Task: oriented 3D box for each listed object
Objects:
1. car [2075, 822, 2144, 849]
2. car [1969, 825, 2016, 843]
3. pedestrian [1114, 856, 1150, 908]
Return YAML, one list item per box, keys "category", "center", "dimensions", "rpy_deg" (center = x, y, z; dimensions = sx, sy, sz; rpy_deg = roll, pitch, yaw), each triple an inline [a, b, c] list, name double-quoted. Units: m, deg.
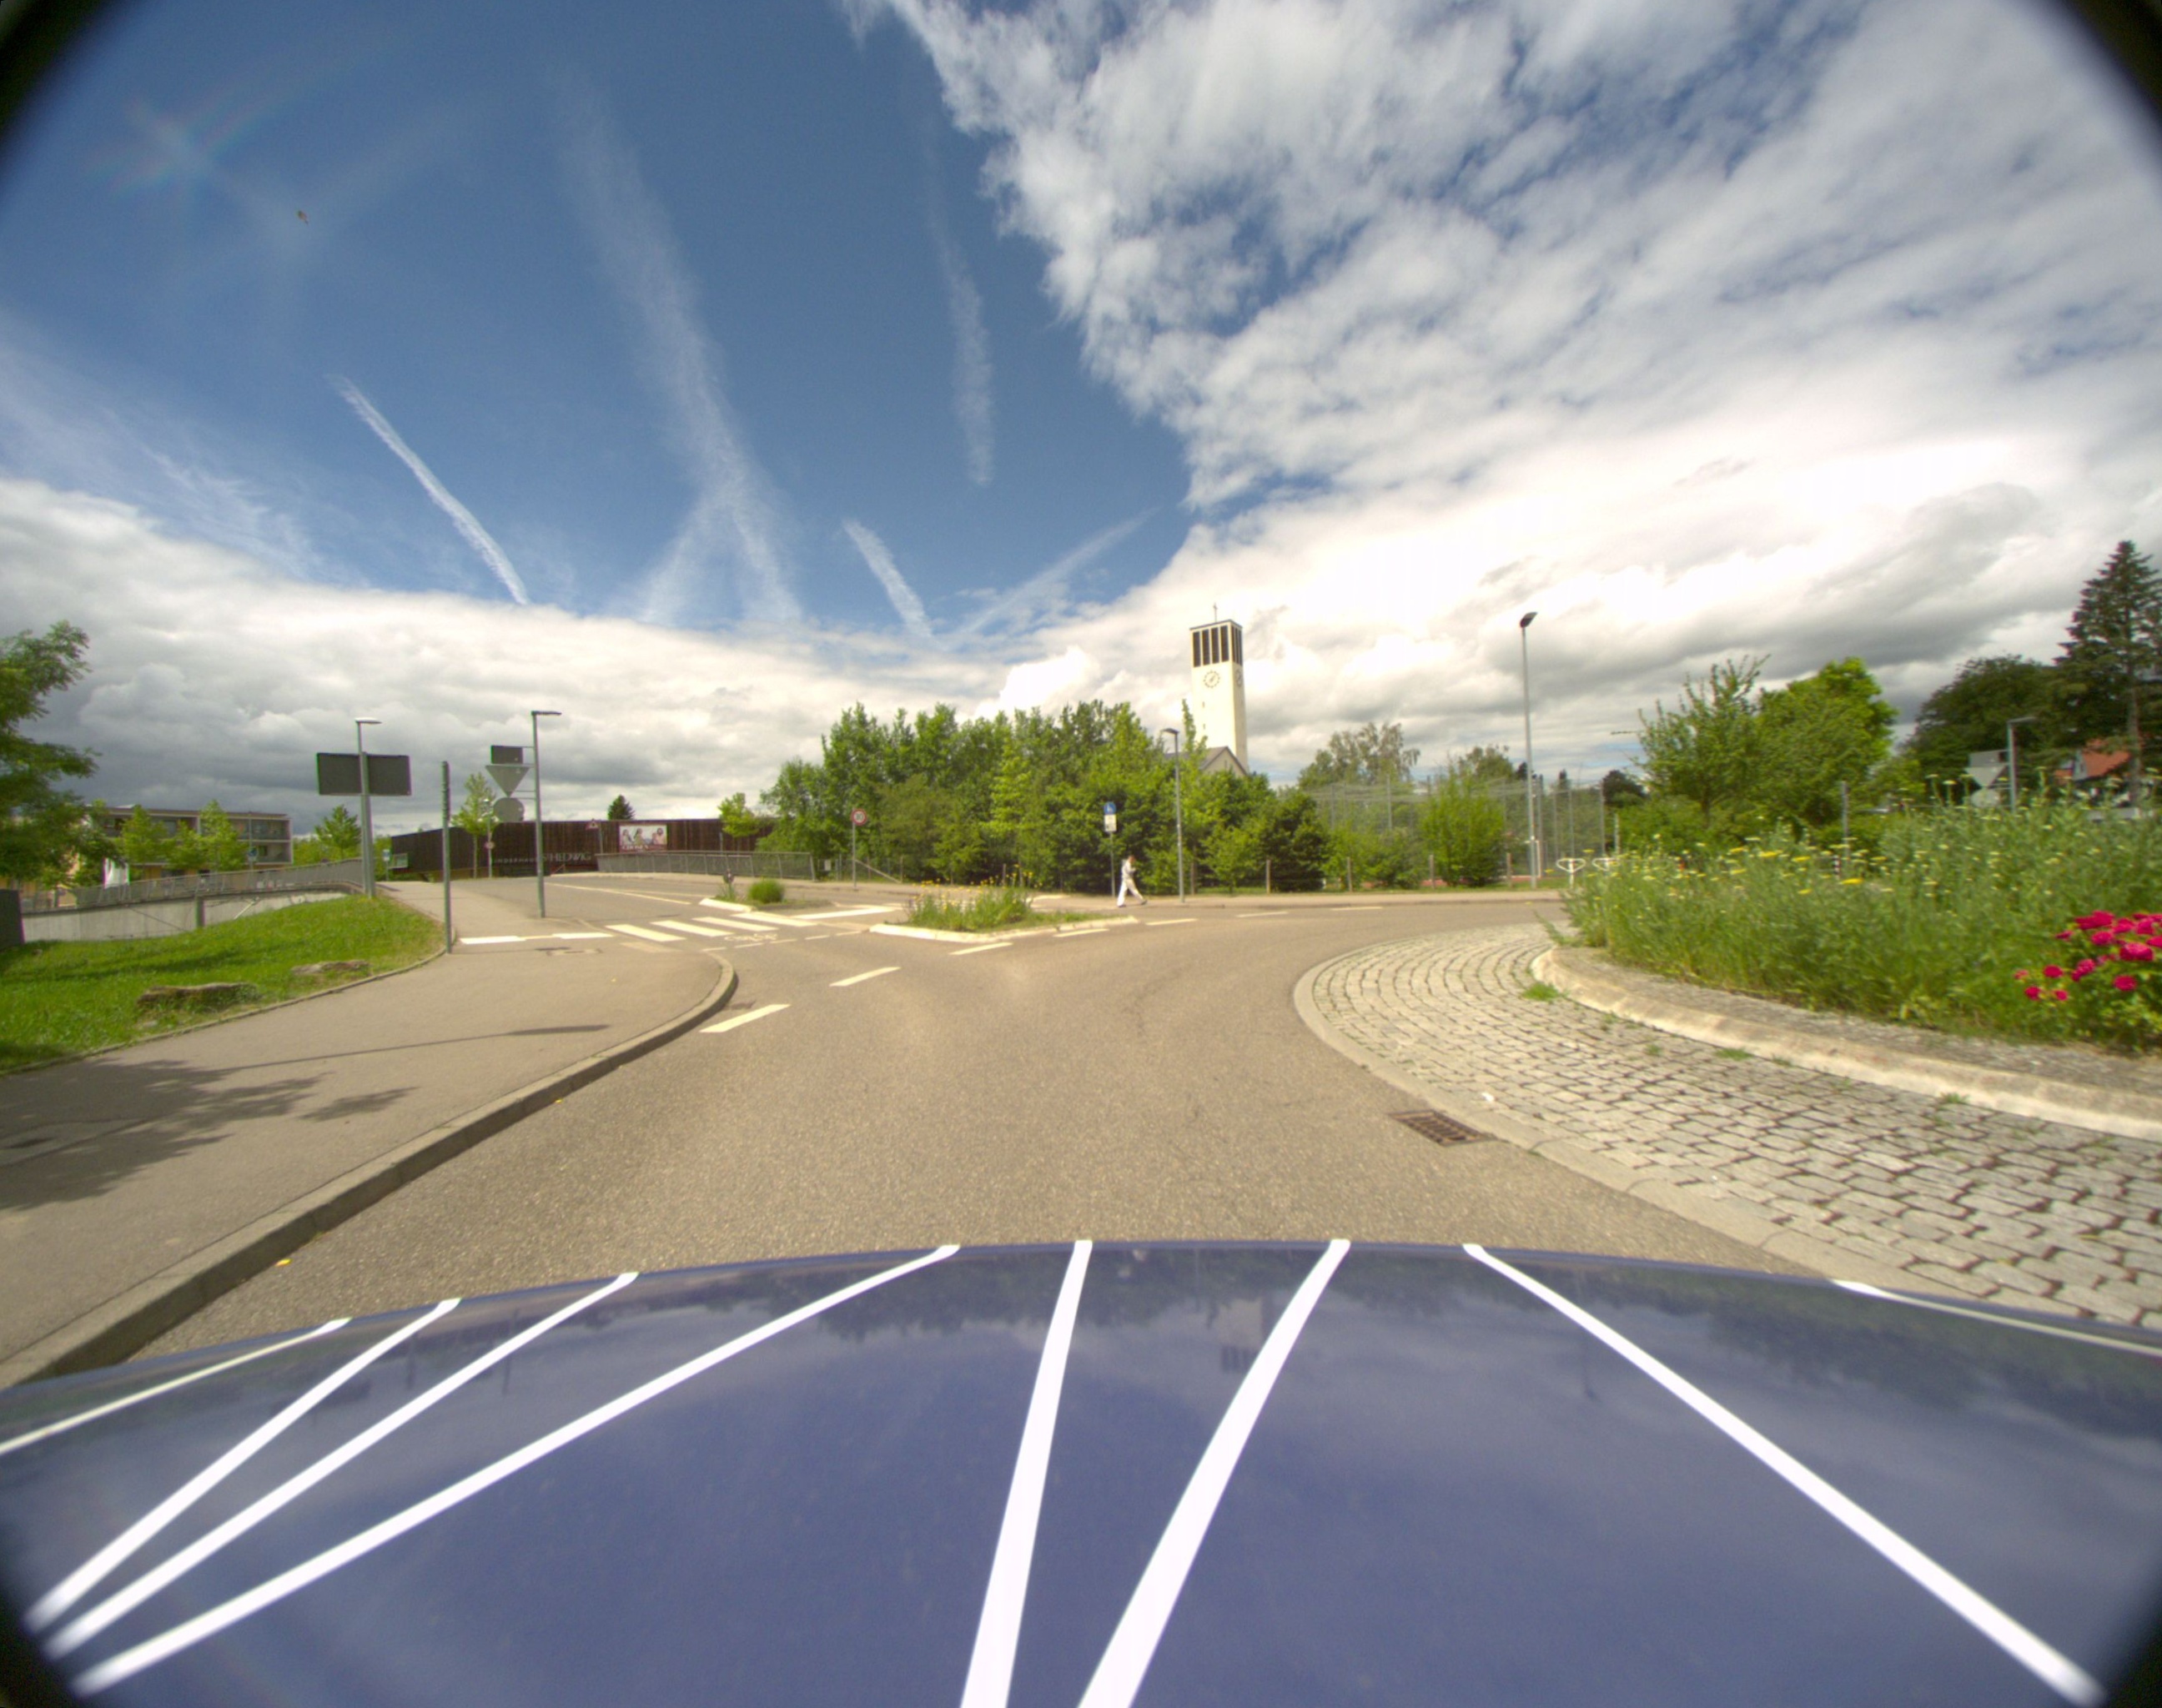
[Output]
- category: "car"
  center: [66.099, -1.234, 48.898]
  dimensions: [1.859, 1.568, 4.007]
  rpy_deg: [-3, 0, 42]
- category: "car"
  center: [86.675, -1.906, 72.317]
  dimensions: [1.994, 1.696, 4.008]
  rpy_deg: [-1, 1, 37]
- category: "pedestrian"
  center: [1.536, 0.832, 22.804]
  dimensions: [0.965, 1.524, 0.457]
  rpy_deg: [-2, 0, -41]
